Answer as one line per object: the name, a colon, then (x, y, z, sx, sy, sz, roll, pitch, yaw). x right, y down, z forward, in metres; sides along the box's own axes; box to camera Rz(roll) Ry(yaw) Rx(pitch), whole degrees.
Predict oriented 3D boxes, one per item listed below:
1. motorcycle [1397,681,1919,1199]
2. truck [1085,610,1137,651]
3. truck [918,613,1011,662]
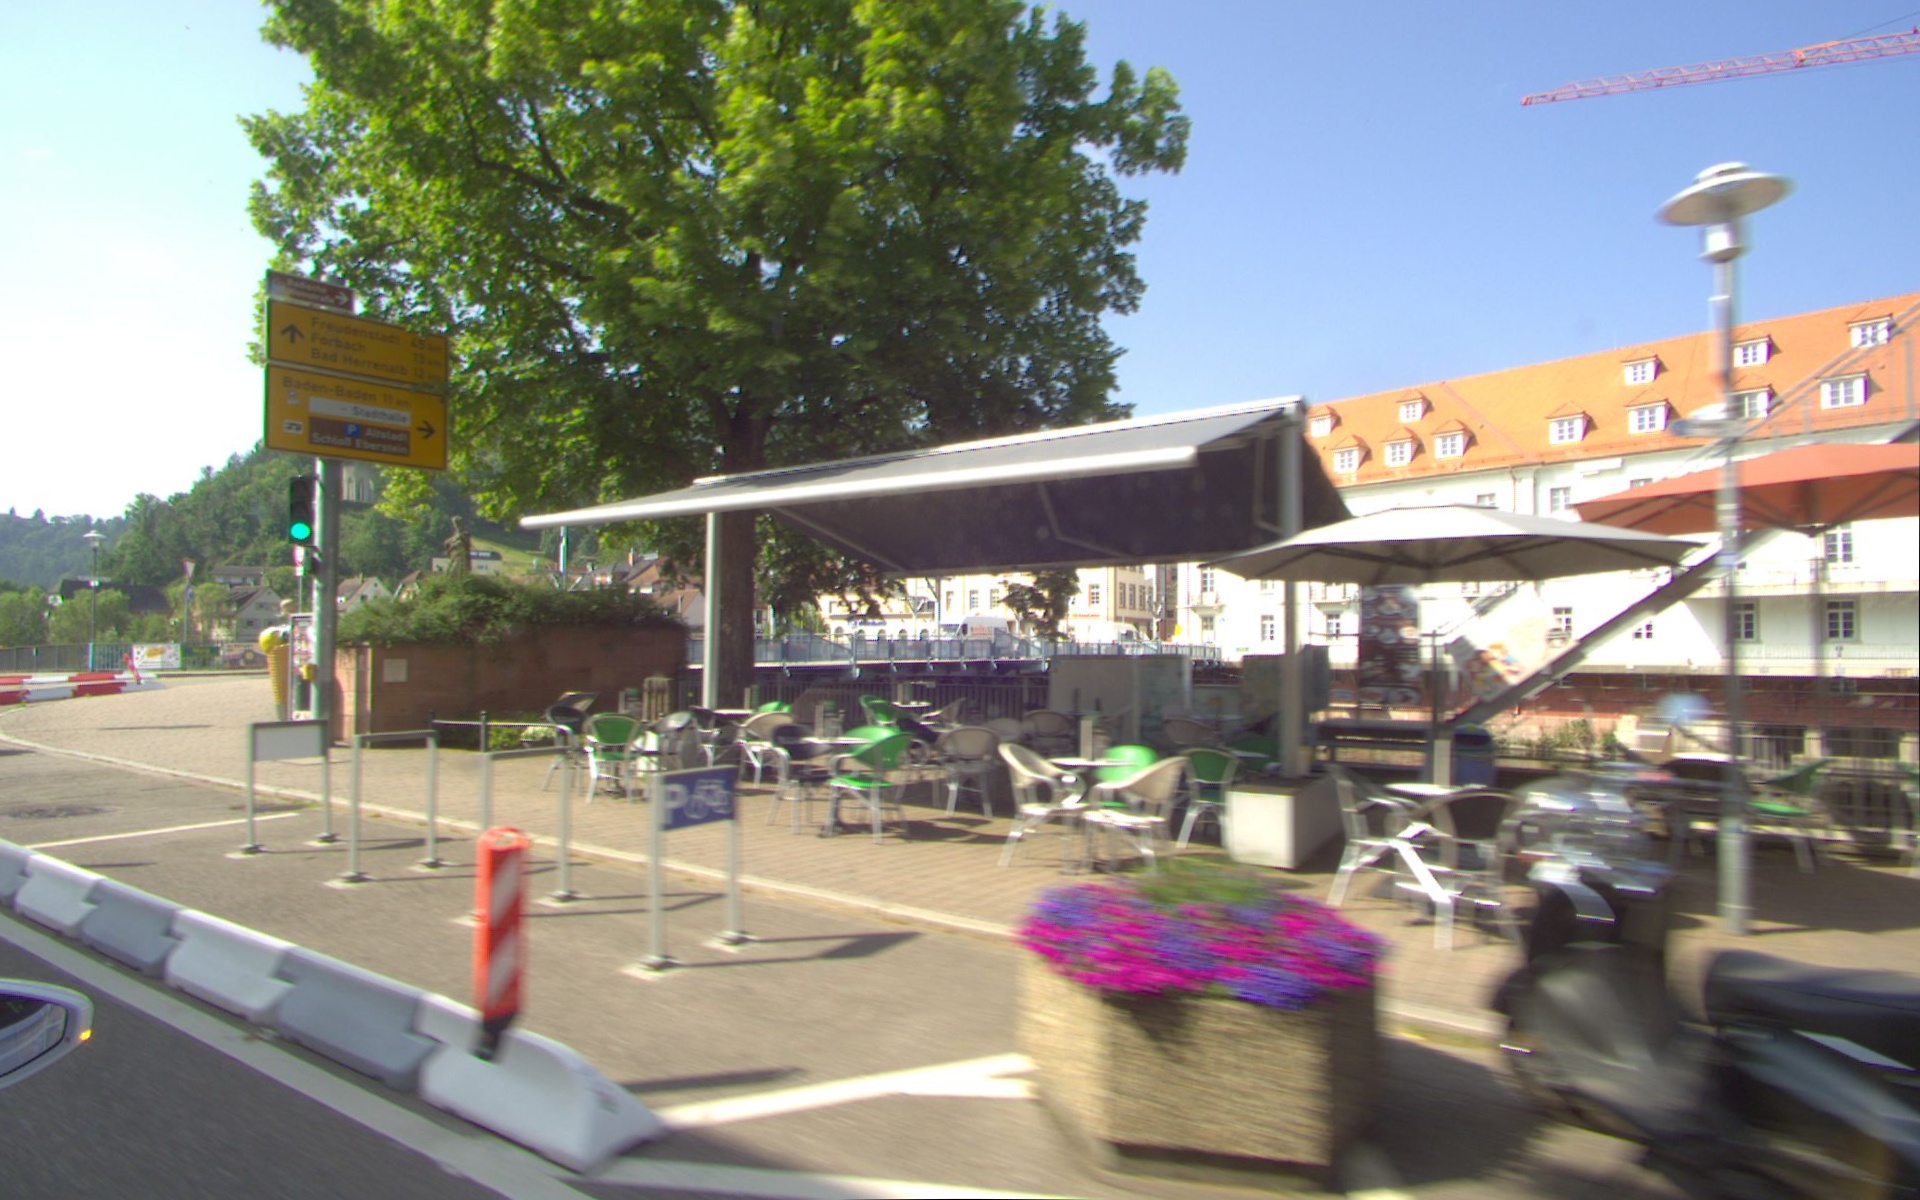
motorcycle: (1.925, 0.925, 2.379, 0.899, 1.375, 1.901, 1, -2, -2)
truck: (10.294, 2.104, 67.963, 1.842, 2.617, 4.237, 0, -3, 34)
truck: (0.400, 2.199, 59.728, 2.082, 2.734, 7.096, -2, -1, 32)
